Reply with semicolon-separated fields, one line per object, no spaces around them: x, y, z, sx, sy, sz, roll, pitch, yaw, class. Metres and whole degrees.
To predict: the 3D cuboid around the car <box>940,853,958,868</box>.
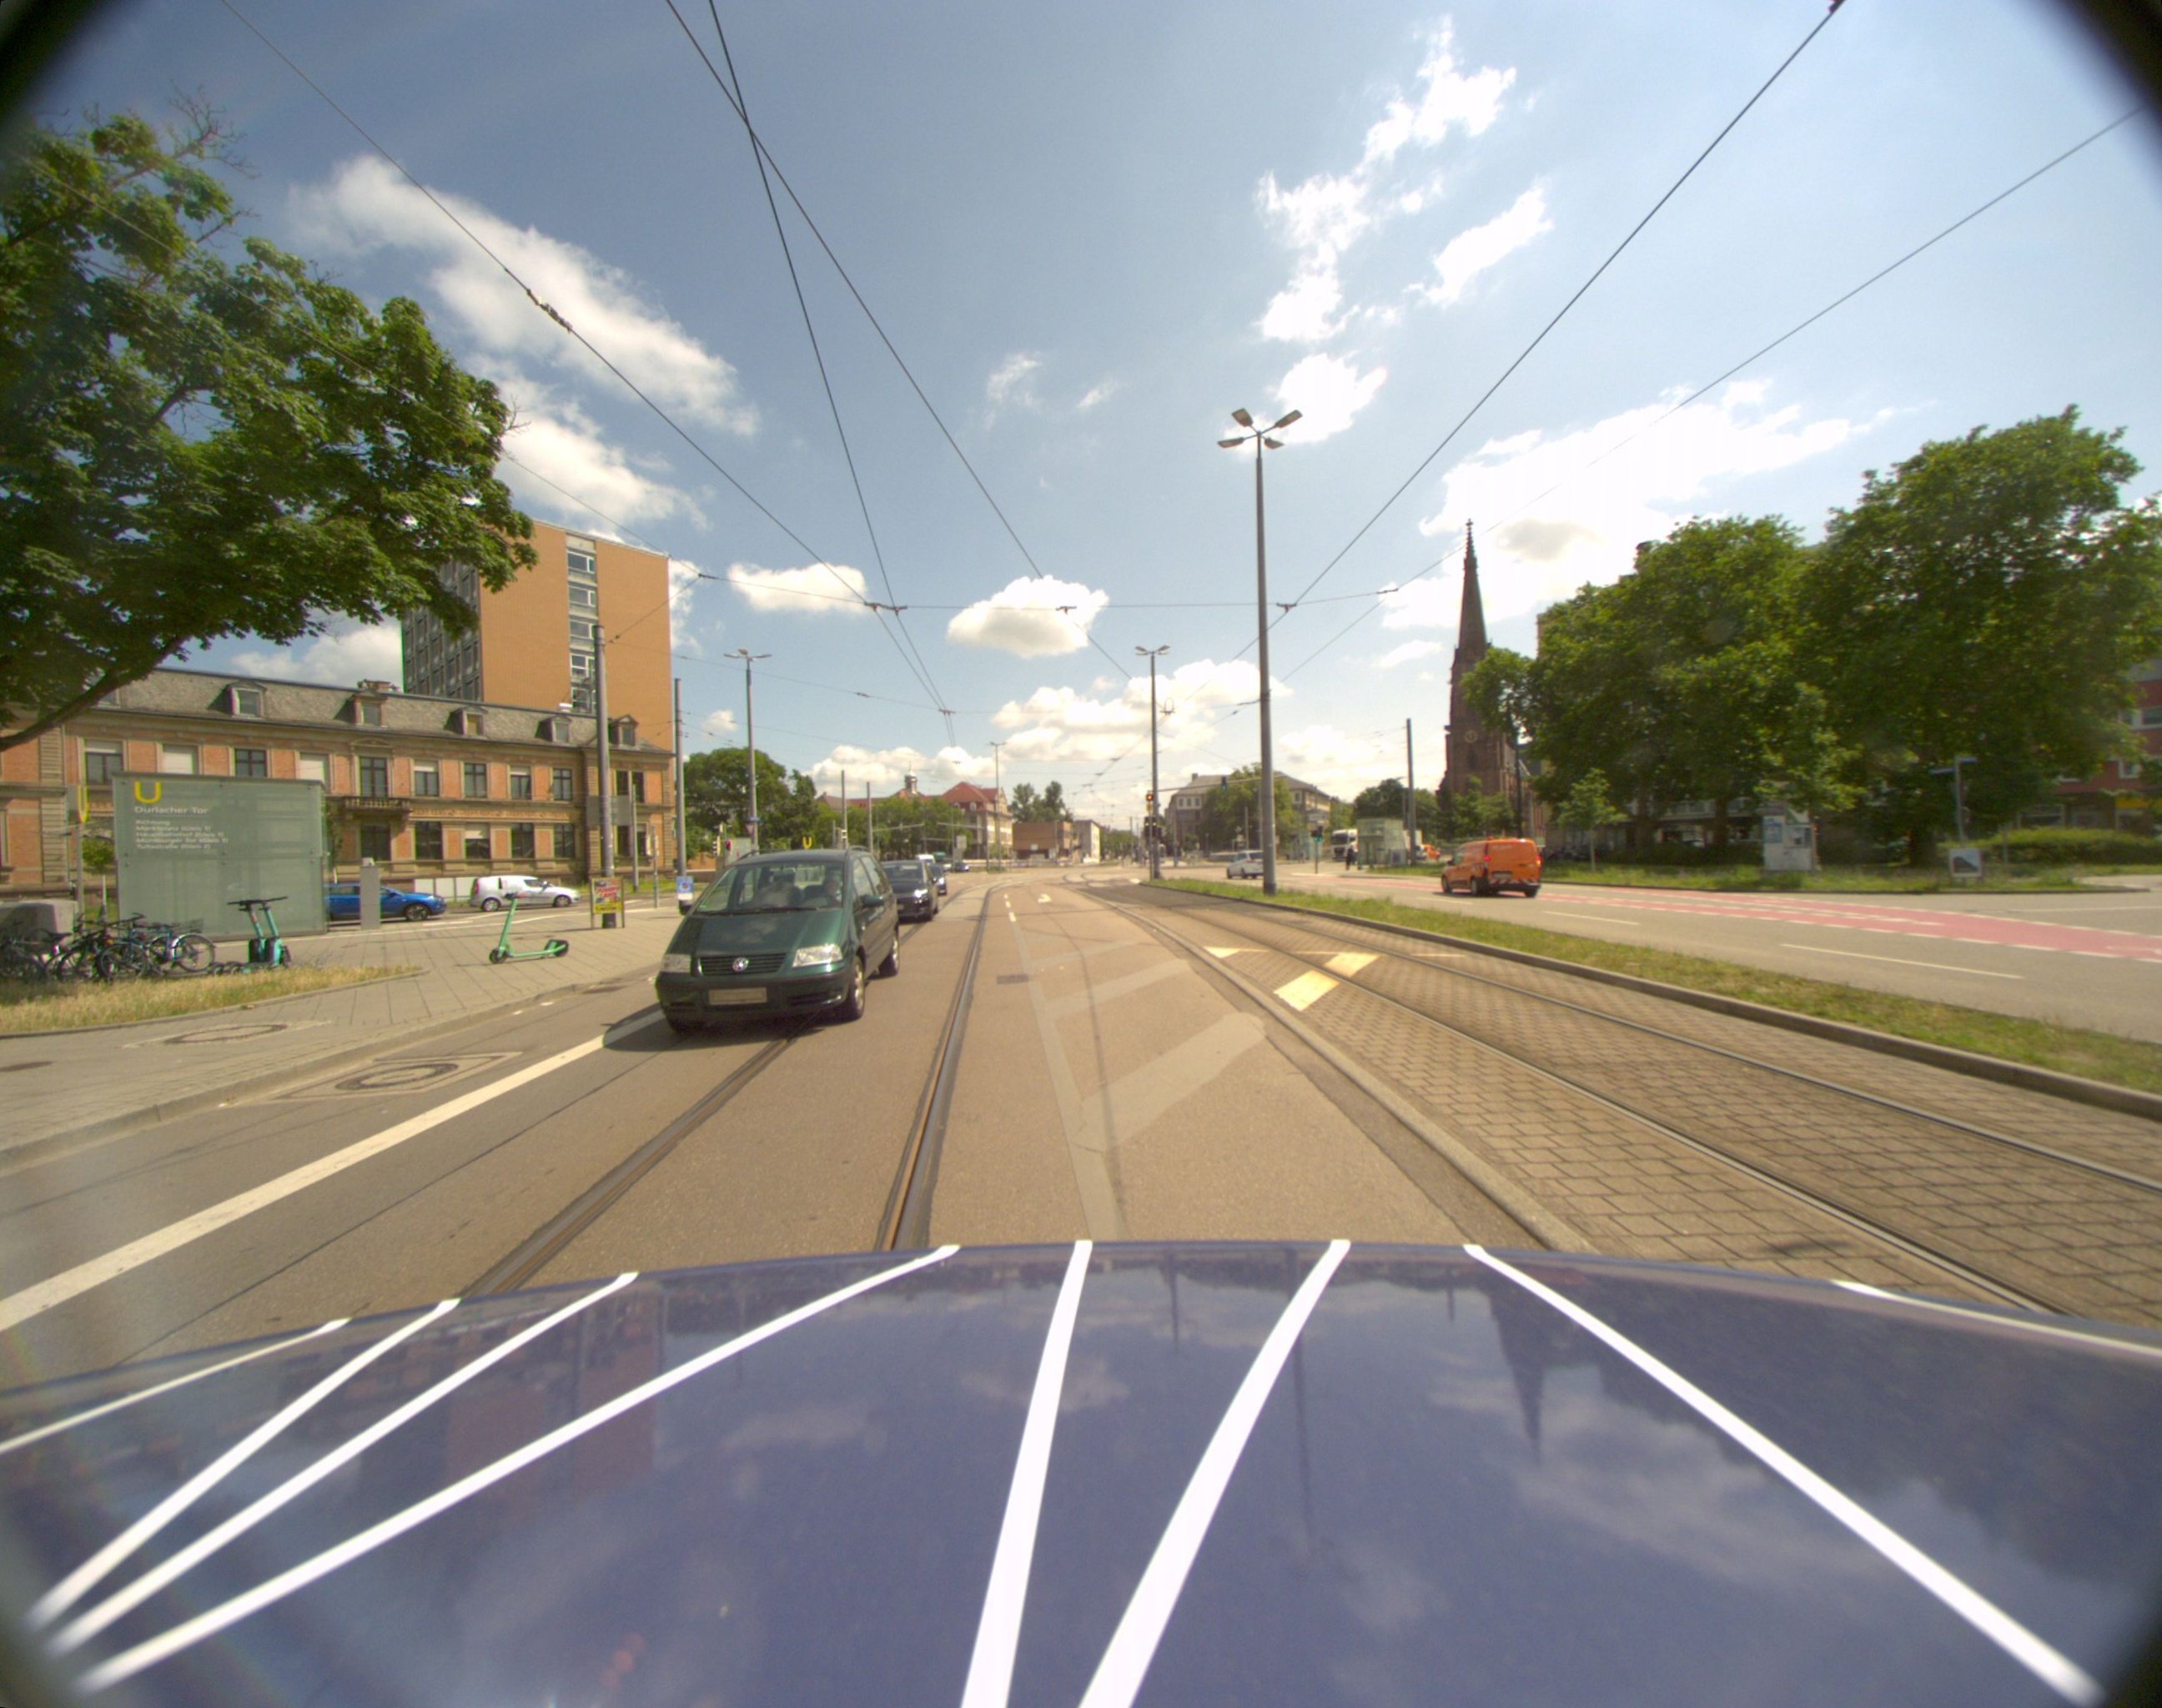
-17.961;0.856;103.395;1.817;2.002;3.993;-2;0;-19;car

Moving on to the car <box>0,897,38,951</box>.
-33.786;2.167;21.899;4.003;1.556;1.934;-3;1;-42;car

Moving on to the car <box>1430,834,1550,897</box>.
13.236;0.338;24.916;1.915;1.855;4.369;-1;0;6;car

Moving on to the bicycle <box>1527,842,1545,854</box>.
42.905;-0.555;71.658;0.460;1.139;1.270;-2;0;-41;bicycle

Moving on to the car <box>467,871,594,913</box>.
-25.280;1.695;34.977;4.435;1.578;1.869;-3;1;-44;car

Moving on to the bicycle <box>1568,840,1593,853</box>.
40.920;-0.608;62.254;0.494;1.060;1.598;-3;1;-37;bicycle

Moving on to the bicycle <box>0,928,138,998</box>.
-16.716;1.734;12.005;0.844;0.875;2.287;-1;1;-3;bicycle

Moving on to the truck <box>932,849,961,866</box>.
-25.959;0.708;146.548;3.360;2.980;8.717;-2;0;-24;truck

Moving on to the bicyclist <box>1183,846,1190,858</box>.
18.786;-0.350;135.461;1.125;2.002;1.320;-1;1;3;bicyclist

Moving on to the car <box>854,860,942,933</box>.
-4.876;1.047;20.806;1.874;1.607;4.423;-4;1;-9;car

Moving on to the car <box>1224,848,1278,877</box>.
10.001;0.462;45.051;1.772;1.594;4.490;-1;0;-6;car

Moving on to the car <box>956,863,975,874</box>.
-14.636;1.853;96.144;1.673;1.368;3.910;-2;0;-17;car

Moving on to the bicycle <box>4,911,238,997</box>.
-15.689;1.589;12.562;1.027;1.075;2.262;-1;1;-3;bicycle

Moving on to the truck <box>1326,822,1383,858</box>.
32.403;-1.629;89.962;6.891;4.095;2.956;-2;1;-37;truck

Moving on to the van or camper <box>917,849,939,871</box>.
-20.630;0.826;102.399;2.235;2.719;5.513;-2;0;-18;van or camper

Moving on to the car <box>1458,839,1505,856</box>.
42.699;-0.668;81.057;4.166;1.633;1.631;-2;0;12;car

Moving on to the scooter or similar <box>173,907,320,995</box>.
-13.482;1.535;12.344;0.951;1.196;1.388;-2;1;-13;scooter or similar

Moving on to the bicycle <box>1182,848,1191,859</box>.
18.801;-0.102;135.494;1.247;2.002;3.485;-3;0;3;bicycle

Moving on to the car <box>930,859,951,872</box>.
-17.335;1.360;93.415;1.903;1.455;4.254;-2;0;-19;car

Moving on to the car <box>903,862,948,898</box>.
-7.415;1.180;35.995;1.875;1.477;4.421;-2;0;-13;car

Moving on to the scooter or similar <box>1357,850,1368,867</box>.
20.263;0.313;54.695;0.462;1.193;0.549;-2;1;-7;scooter or similar

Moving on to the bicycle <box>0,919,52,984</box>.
-18.895;1.714;12.381;0.794;1.047;2.572;-1;1;-3;bicycle

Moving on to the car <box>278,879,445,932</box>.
-27.114;1.889;28.826;4.435;1.542;1.868;-3;3;-43;car

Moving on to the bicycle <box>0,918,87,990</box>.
-17.999;1.687;12.188;0.794;1.064;2.572;-1;1;-3;bicycle

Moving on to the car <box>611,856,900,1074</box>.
-3.254;0.942;8.563;1.820;1.708;4.082;-4;1;-7;car

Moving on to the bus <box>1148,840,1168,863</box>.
12.214;-0.463;120.608;2.949;3.427;7.950;-2;0;5;bus

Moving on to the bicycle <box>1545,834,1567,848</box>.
43.513;-1.206;69.640;0.494;1.257;1.598;-3;1;-37;bicycle

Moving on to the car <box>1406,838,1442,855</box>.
38.106;-0.832;84.306;4.249;1.755;1.766;-2;0;-37;car

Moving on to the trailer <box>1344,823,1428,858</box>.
37.919;-1.772;94.085;13.443;4.052;2.941;-2;1;-37;trailer

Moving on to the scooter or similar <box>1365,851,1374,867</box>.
20.854;0.371;54.931;0.416;1.118;0.556;-2;1;-7;scooter or similar

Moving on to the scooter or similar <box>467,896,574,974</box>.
-9.462;1.344;12.879;0.950;1.173;1.086;-1;1;0;scooter or similar

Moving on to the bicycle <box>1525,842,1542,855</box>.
42.452;-0.543;71.297;0.460;1.139;1.270;-2;0;-41;bicycle

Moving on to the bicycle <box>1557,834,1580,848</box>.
42.190;-1.151;65.771;0.494;1.161;1.598;-3;1;-37;bicycle

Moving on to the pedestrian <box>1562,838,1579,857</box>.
39.259;-0.517;60.900;0.725;1.551;0.878;-2;0;-29;pedestrian
